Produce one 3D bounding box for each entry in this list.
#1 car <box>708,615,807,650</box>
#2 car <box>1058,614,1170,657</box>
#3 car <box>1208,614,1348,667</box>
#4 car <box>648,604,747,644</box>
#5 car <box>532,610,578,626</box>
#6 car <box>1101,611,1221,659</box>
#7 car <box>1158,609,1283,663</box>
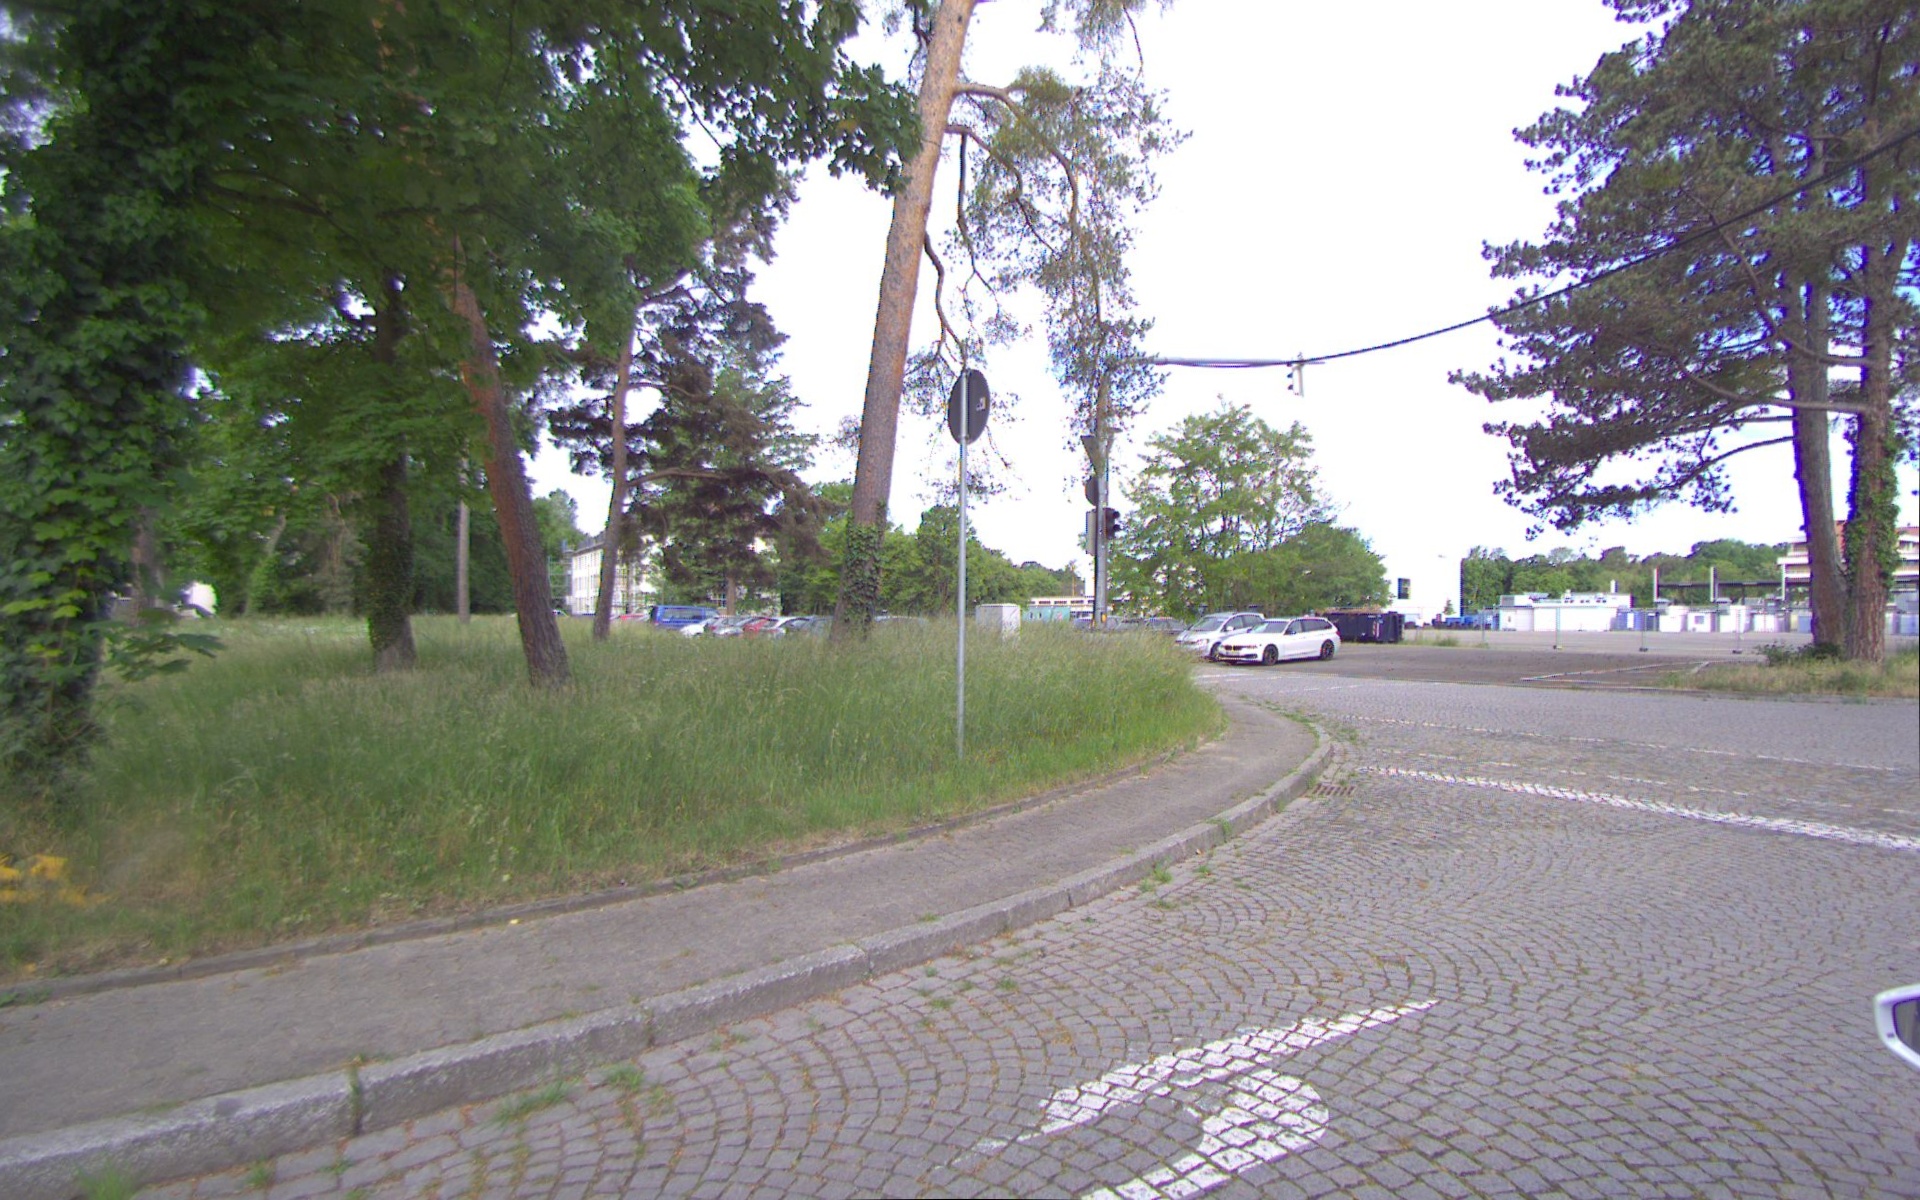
[{"bbox_3d":[-8.839,1.392,43.916,3.952,1.457,1.678,1,-1,-30],"label":"car"},{"bbox_3d":[6.035,1.347,39.226,4.281,1.587,1.782,1,-1,-34],"label":"car"},{"bbox_3d":[10.348,1.245,32.591,4.689,1.461,1.799,-2,1,-34],"label":"car"},{"bbox_3d":[-13.990,1.261,53.565,4.737,2.007,1.982,0,0,-30],"label":"car"},{"bbox_3d":[-50.761,2.264,125.827,5.104,2.040,1.983,1,-1,-31],"label":"car"},{"bbox_3d":[7.427,1.245,36.946,4.281,1.522,1.843,-2,1,-34],"label":"car"},{"bbox_3d":[9.034,1.194,34.703,4.281,1.605,1.810,-2,1,-34],"label":"car"}]
